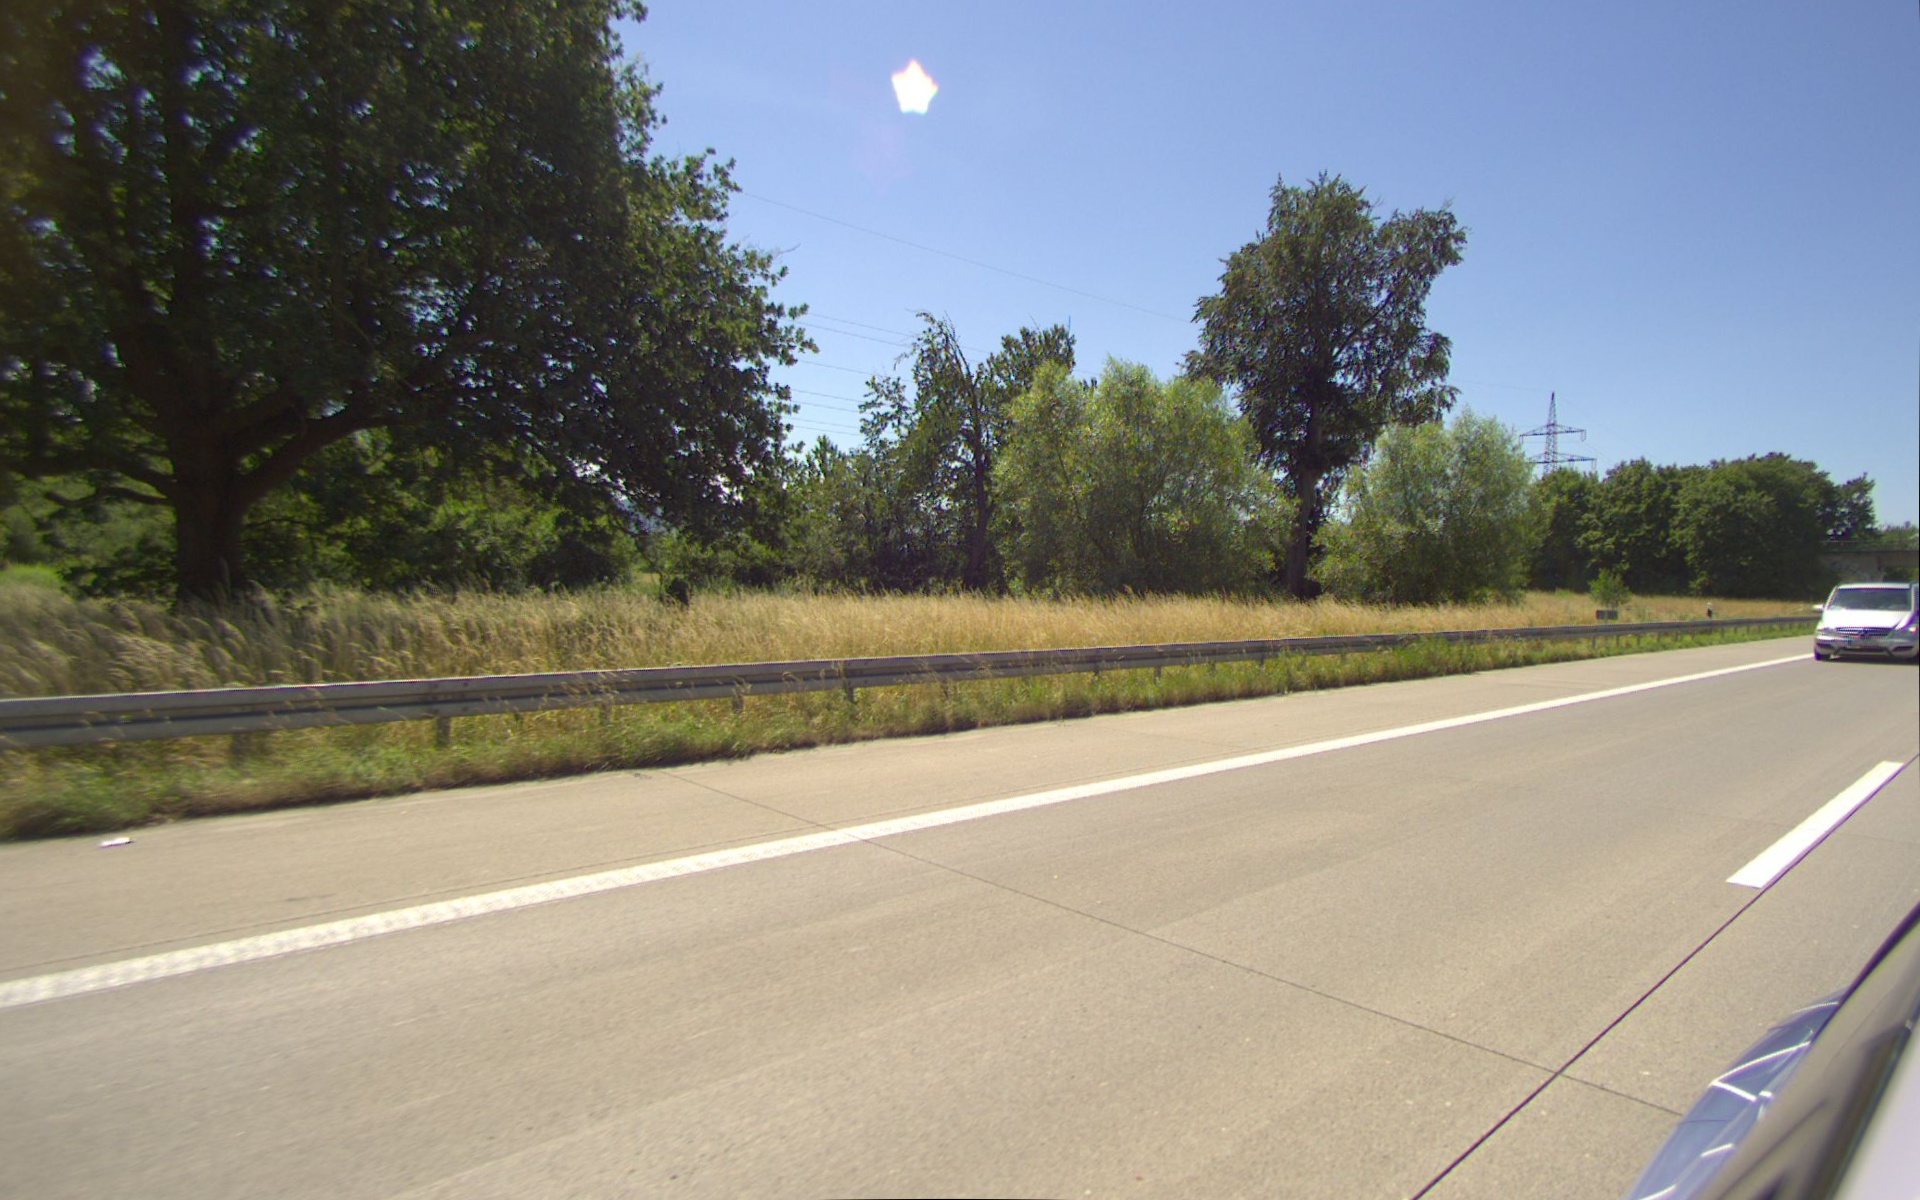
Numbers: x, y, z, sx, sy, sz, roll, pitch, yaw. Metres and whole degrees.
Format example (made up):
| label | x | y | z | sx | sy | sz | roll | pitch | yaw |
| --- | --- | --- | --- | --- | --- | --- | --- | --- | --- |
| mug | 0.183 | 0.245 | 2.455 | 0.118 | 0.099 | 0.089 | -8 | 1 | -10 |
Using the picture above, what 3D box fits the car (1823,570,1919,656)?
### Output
| label | x | y | z | sx | sy | sz | roll | pitch | yaw |
| --- | --- | --- | --- | --- | --- | --- | --- | --- | --- |
| car | 22.956 | 0.292 | 24.892 | 5.187 | 1.913 | 1.882 | 0 | 1 | -41 |
